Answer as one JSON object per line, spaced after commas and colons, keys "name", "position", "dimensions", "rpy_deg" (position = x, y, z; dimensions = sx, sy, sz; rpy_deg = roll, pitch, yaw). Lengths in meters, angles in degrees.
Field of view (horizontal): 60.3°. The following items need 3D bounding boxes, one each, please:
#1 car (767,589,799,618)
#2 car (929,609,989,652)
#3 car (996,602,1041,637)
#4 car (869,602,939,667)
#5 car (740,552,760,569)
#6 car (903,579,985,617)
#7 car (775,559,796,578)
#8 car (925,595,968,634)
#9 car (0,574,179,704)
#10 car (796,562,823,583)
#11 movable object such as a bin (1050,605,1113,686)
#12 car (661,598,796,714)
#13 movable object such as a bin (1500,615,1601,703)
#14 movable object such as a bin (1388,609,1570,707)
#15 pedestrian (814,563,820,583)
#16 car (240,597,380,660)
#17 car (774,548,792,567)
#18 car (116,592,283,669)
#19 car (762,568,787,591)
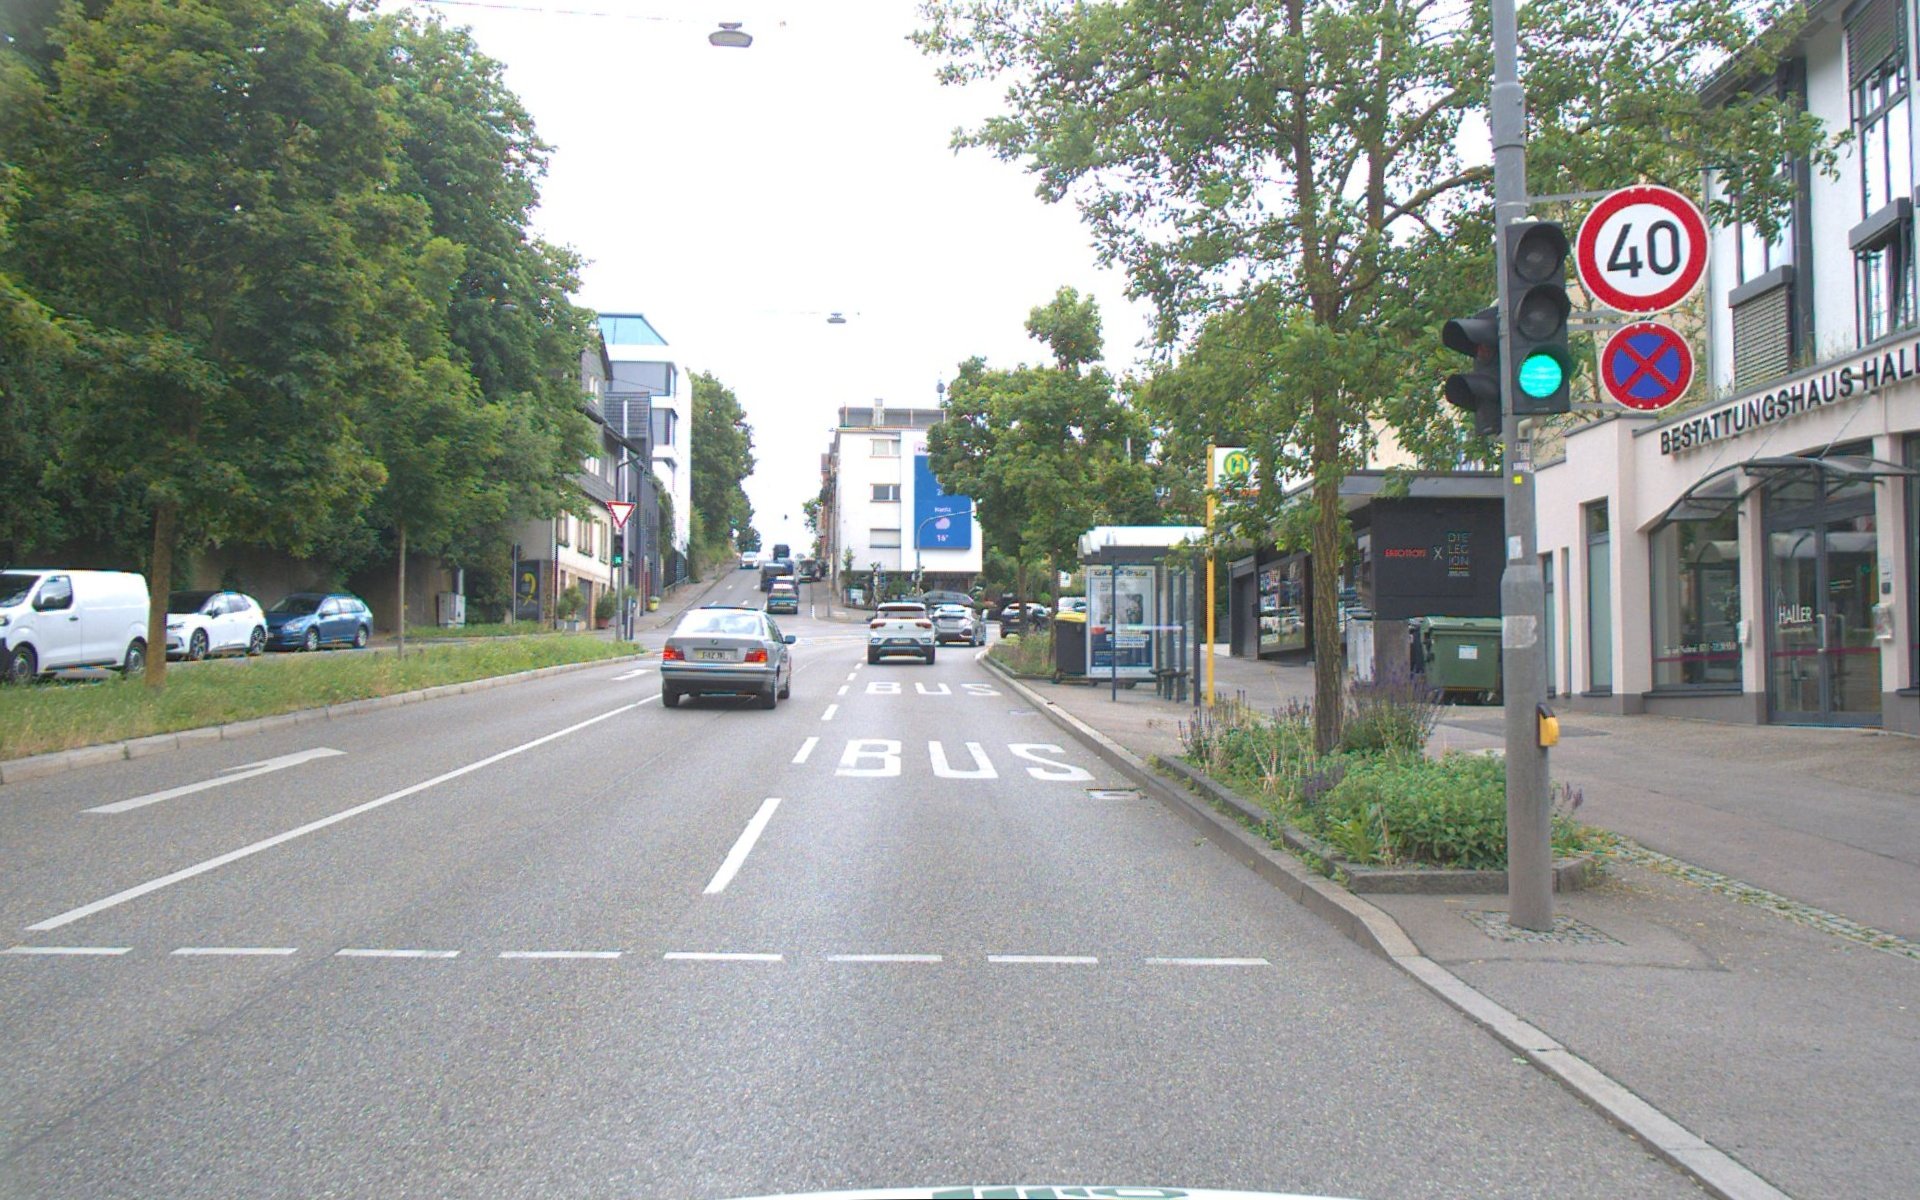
{"name": "car", "position": [-10.209, 0.175, 95.423], "dimensions": [1.745, 1.606, 3.996], "rpy_deg": [1, 1, -5]}
{"name": "car", "position": [0.011, 1.111, 61.413], "dimensions": [1.742, 1.434, 4.003], "rpy_deg": [2, 1, 7]}
{"name": "car", "position": [2.642, 0.855, 73.551], "dimensions": [1.756, 1.434, 4.003], "rpy_deg": [1, 0, 5]}
{"name": "car", "position": [-1.502, 0.880, 43.687], "dimensions": [1.744, 1.606, 3.998], "rpy_deg": [1, 0, -3]}
{"name": "car", "position": [-20.318, -3.837, 160.121], "dimensions": [1.846, 1.594, 4.385], "rpy_deg": [0, 3, -6]}
{"name": "car", "position": [-0.985, -0.114, 99.026], "dimensions": [4.598, 1.741, 2.317], "rpy_deg": [5, 3, -6]}
{"name": "car", "position": [-15.523, -2.789, 147.125], "dimensions": [1.745, 1.607, 3.995], "rpy_deg": [1, 0, -5]}
{"name": "car", "position": [-0.569, 0.614, 72.293], "dimensions": [1.743, 1.606, 4.001], "rpy_deg": [1, 0, 1]}
{"name": "car", "position": [-15.411, 0.579, 27.730], "dimensions": [1.897, 1.992, 5.024], "rpy_deg": [1, 0, 5]}
{"name": "car", "position": [-12.104, -2.178, 133.105], "dimensions": [2.048, 1.641, 3.996], "rpy_deg": [1, 0, -4]}
{"name": "movable object such as a bin", "position": [2.330, 0.856, 31.859], "dimensions": [1.063, 1.507, 1.536], "rpy_deg": [1, 0, -1]}
{"name": "car", "position": [-3.340, 0.765, 24.447], "dimensions": [1.673, 1.489, 3.997], "rpy_deg": [1, 1, -4]}
{"name": "movable object such as a bin", "position": [10.058, 0.989, 28.230], "dimensions": [1.313, 1.434, 1.127], "rpy_deg": [1, 0, 0]}
{"name": "movable object such as a bin", "position": [8.738, 0.927, 28.211], "dimensions": [1.850, 1.477, 4.000], "rpy_deg": [1, 0, 0]}
{"name": "pedestrian", "position": [-11.403, -2.142, 132.168], "dimensions": [0.449, 1.556, 0.526], "rpy_deg": [1, -1, -4]}
{"name": "car", "position": [-17.475, 0.727, 44.665], "dimensions": [1.676, 1.555, 4.304], "rpy_deg": [2, 1, 6]}
{"name": "car", "position": [-19.952, -4.801, 186.351], "dimensions": [1.955, 2.049, 3.996], "rpy_deg": [1, 1, -6]}
{"name": "car", "position": [-17.850, 0.665, 39.032], "dimensions": [1.742, 1.657, 4.173], "rpy_deg": [2, 1, 4]}
{"name": "car", "position": [-13.308, -1.458, 118.827], "dimensions": [1.745, 1.606, 3.996], "rpy_deg": [0, 0, -5]}
